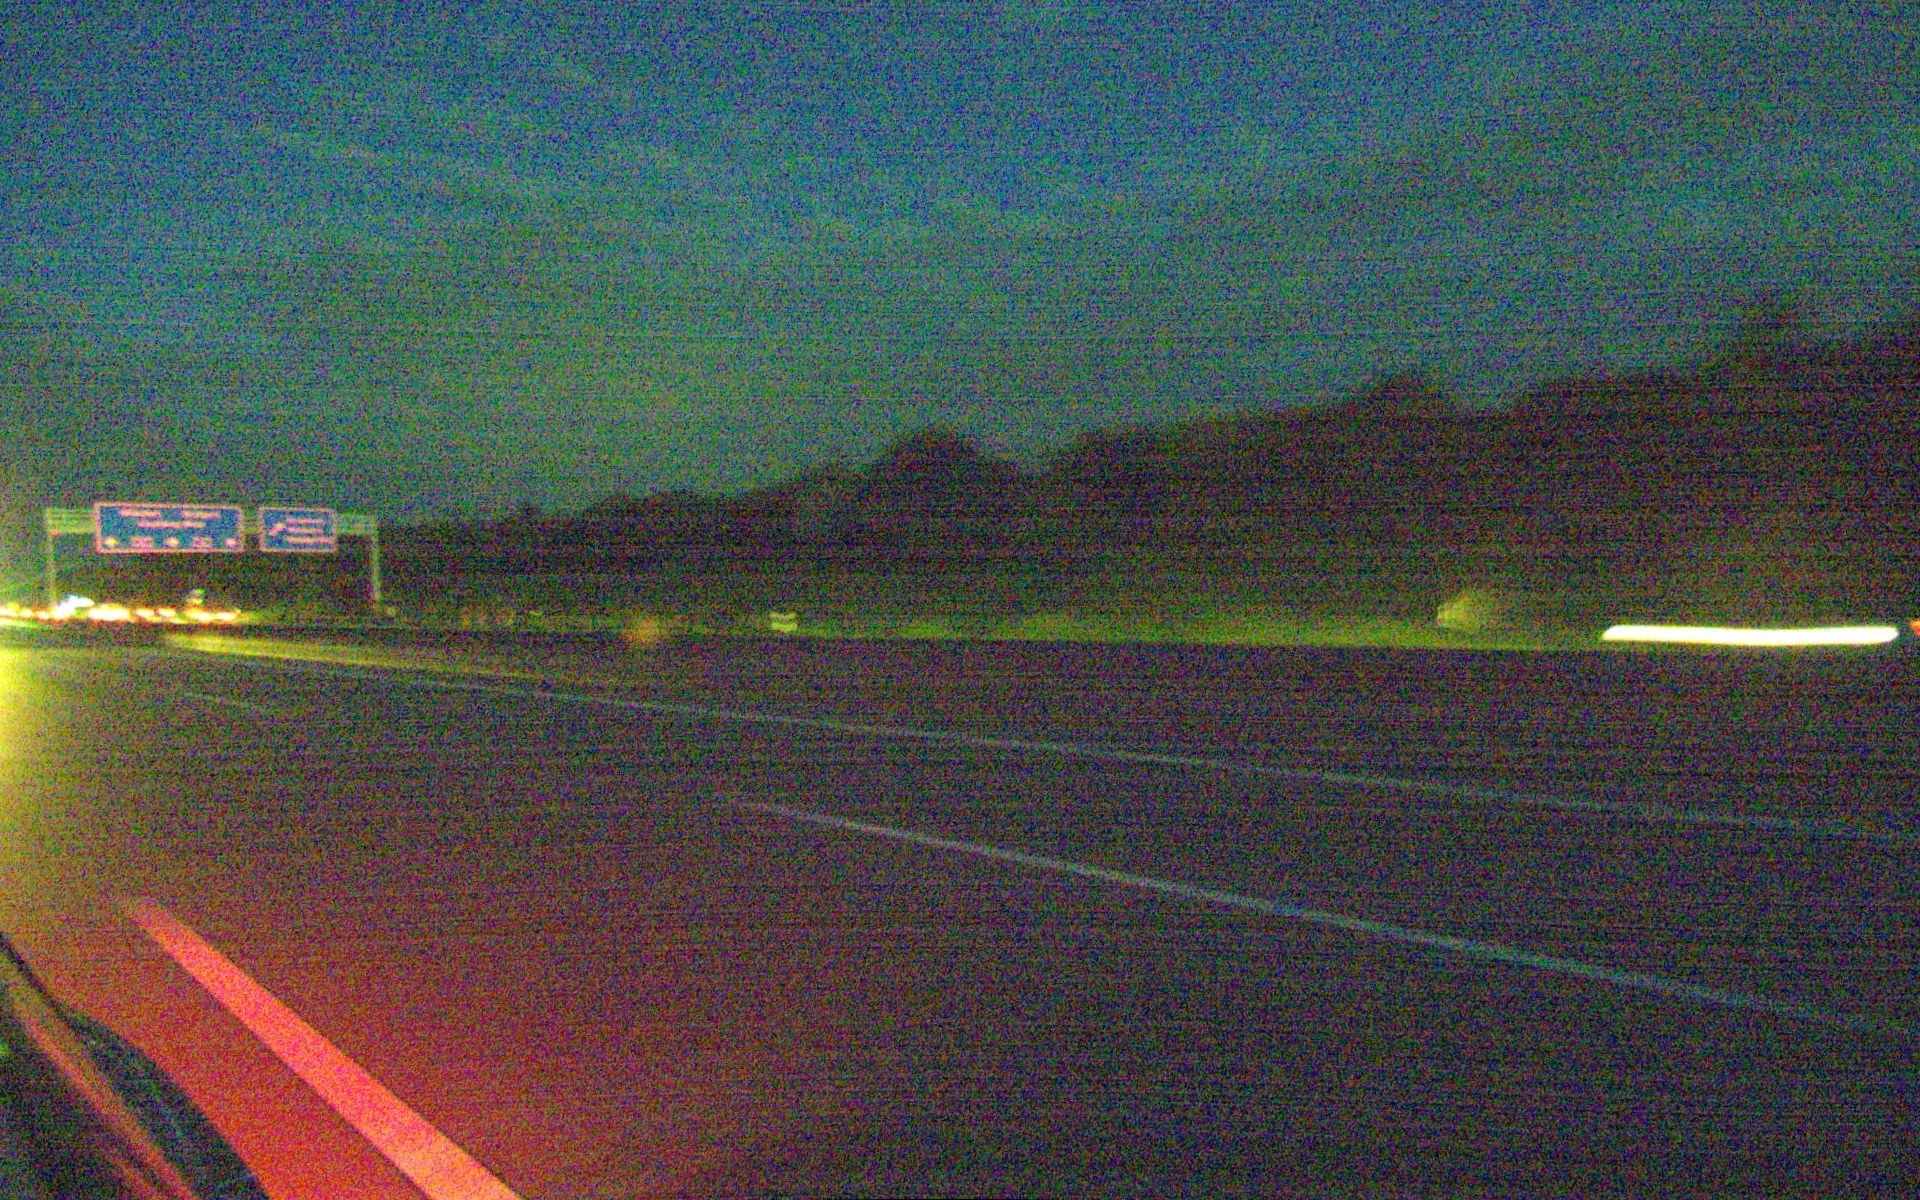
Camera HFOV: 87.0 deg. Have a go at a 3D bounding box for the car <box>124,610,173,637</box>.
[{"bbox_3d":[-56.977,1.642,71.062,4.658,1.747,1.972,-1,0,42],"label":"car"}]

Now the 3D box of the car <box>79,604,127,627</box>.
[{"bbox_3d":[-73.795,1.351,87.127,5.418,1.899,2.124,-1,0,39],"label":"car"}]

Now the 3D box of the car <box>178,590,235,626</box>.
[{"bbox_3d":[-66.454,0.724,89.154,8.331,2.958,2.432,-1,0,42],"label":"car"}]

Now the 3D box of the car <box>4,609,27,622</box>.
[{"bbox_3d":[-130.605,2.134,139.930,4.659,1.747,1.972,-1,0,43],"label":"car"}]

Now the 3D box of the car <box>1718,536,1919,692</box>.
[{"bbox_3d":[12.686,0.153,12.907,4.658,1.899,2.082,-1,0,42],"label":"car"}]

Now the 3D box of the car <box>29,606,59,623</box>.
[{"bbox_3d":[-97.690,1.548,107.931,4.659,1.747,1.972,-1,0,43],"label":"car"}]

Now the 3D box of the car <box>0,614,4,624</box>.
[{"bbox_3d":[-170.212,3.352,178.502,4.659,1.747,1.972,-1,0,43],"label":"car"}]
